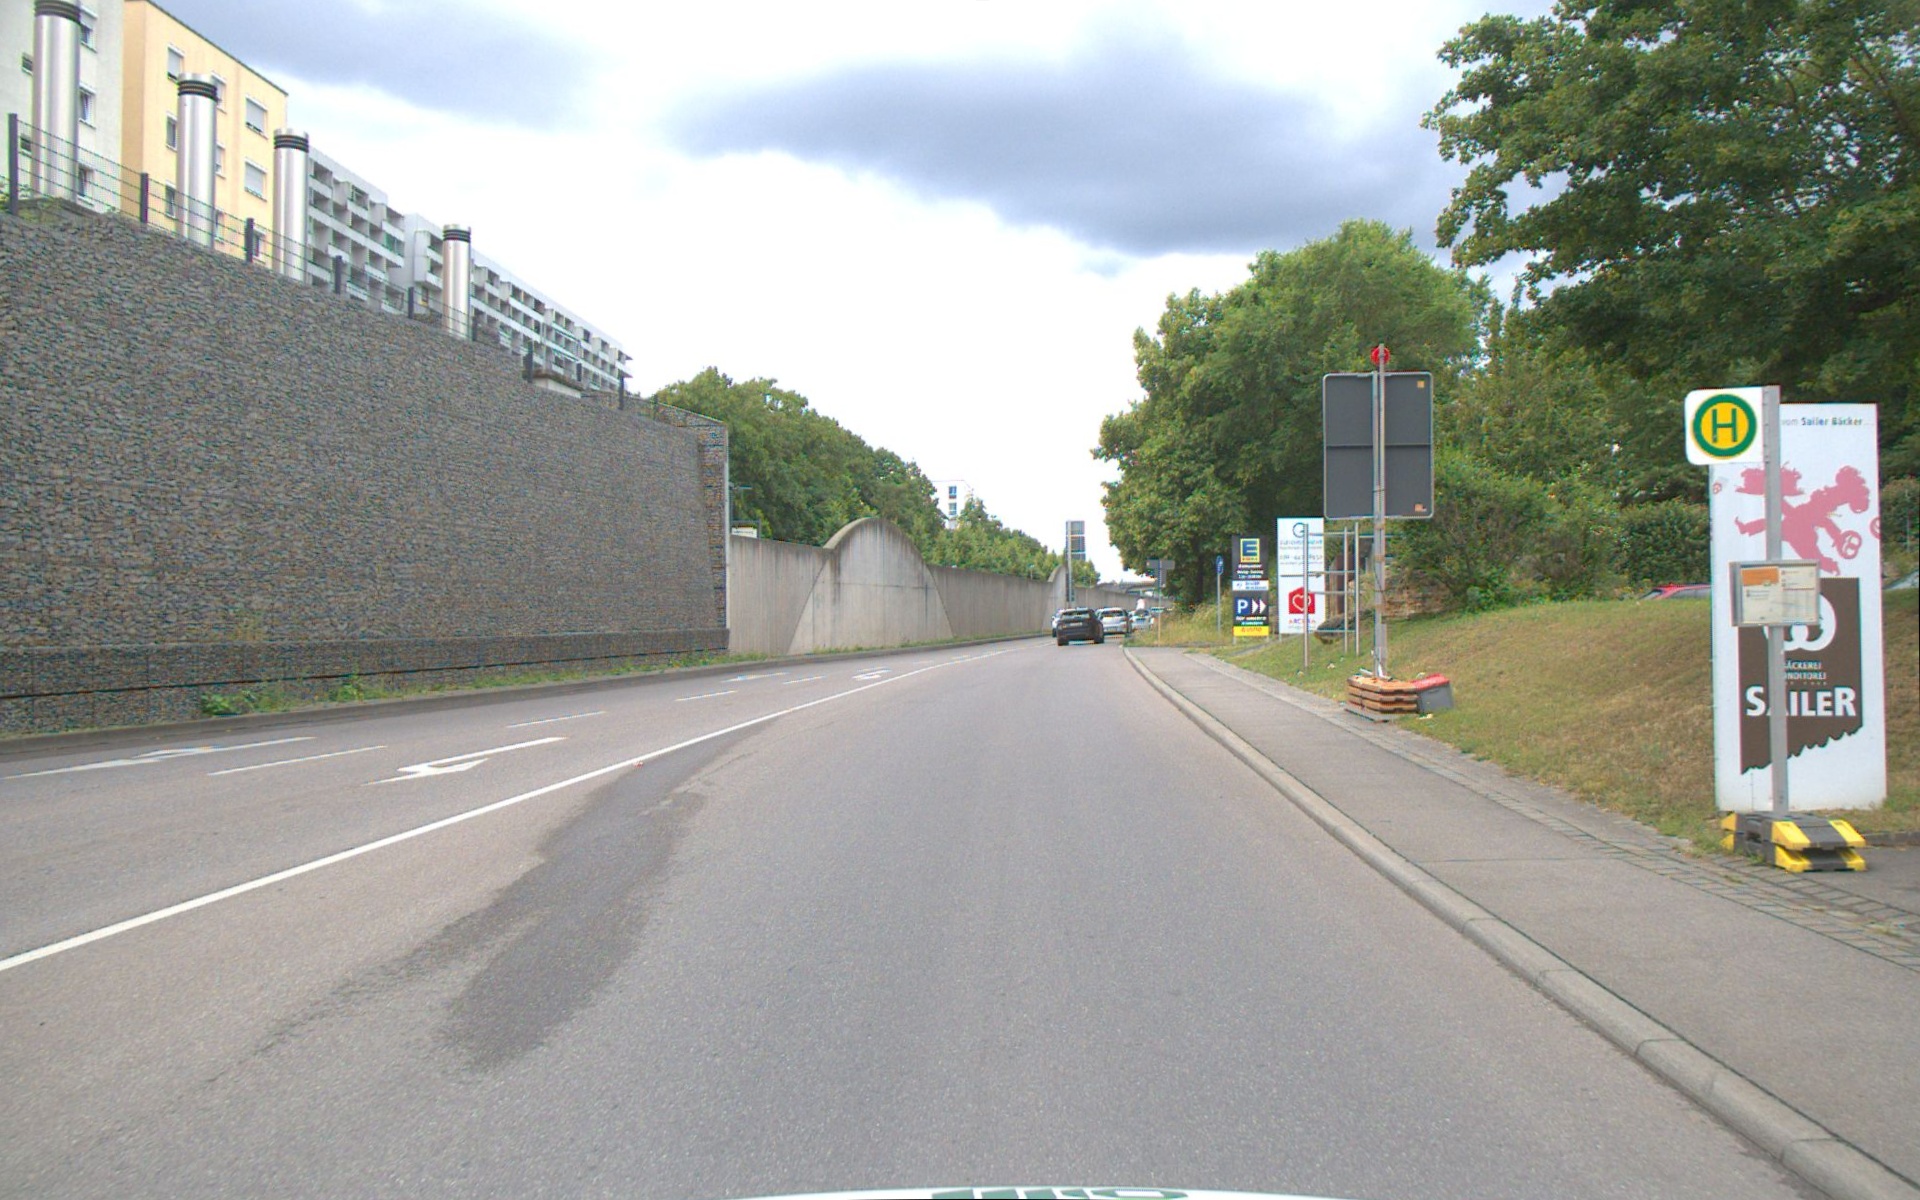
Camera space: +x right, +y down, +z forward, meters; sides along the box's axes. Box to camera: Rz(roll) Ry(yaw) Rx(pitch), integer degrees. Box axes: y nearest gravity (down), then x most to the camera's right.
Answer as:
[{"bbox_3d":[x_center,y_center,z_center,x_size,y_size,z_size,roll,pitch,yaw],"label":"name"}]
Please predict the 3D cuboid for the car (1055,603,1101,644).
[{"bbox_3d":[4.928,0.998,68.581,1.717,1.550,4.039,1,-2,6],"label":"car"}]

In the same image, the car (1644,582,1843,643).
[{"bbox_3d":[19.381,0.320,41.070,4.149,1.475,1.761,0,-1,12],"label":"car"}]

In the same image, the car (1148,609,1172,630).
[{"bbox_3d":[16.032,1.581,132.621,1.717,1.560,4.257,1,-2,9],"label":"car"}]

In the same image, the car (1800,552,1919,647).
[{"bbox_3d":[15.509,-0.018,25.844,3.790,1.377,1.836,-2,-3,6],"label":"car"}]

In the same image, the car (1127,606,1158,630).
[{"bbox_3d":[12.189,1.202,110.299,1.827,1.516,4.260,1,-1,8],"label":"car"}]

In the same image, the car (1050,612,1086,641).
[{"bbox_3d":[6.384,1.545,97.783,1.822,1.660,4.211,-2,-1,7],"label":"car"}]

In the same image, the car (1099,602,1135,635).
[{"bbox_3d":[8.058,0.955,84.608,1.717,1.550,4.039,1,-2,7],"label":"car"}]
